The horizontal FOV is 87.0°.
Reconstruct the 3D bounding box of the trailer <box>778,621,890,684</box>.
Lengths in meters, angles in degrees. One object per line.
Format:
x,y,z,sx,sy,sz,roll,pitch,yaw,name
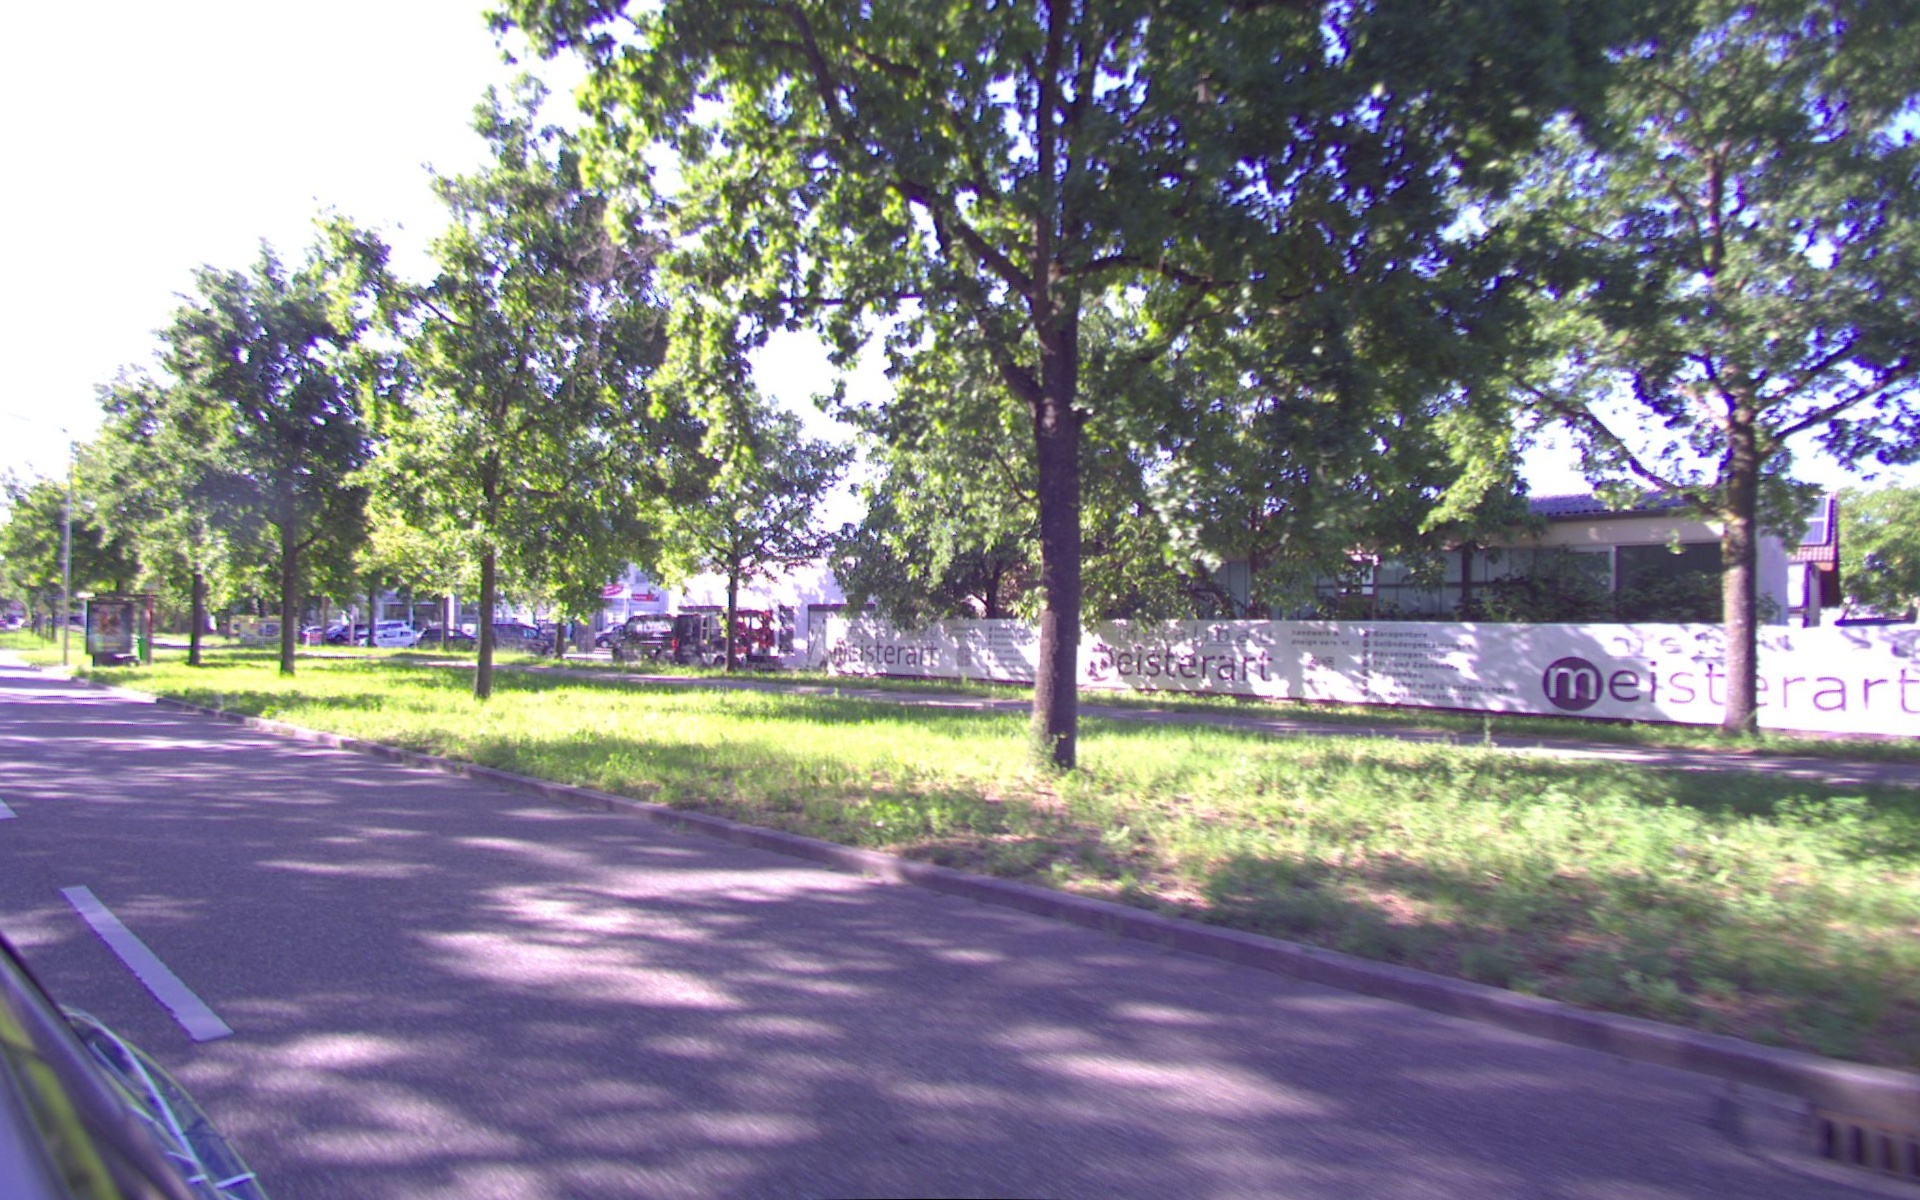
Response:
-4.381,1.771,34.741,3.965,2.029,1.734,-2,-3,44,trailer

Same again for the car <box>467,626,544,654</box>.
-32.324,2.820,72.026,4.963,1.852,2.007,-1,0,-25,car

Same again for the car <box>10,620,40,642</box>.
-88.119,2.908,95.418,1.969,2.029,4.005,1,-2,-42,car

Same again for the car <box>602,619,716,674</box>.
-12.798,1.925,42.778,5.670,2.191,1.972,-2,-2,43,car

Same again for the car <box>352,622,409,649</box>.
-44.558,2.707,77.904,1.973,1.851,3.998,-1,0,2,car

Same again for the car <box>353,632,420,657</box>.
-38.719,3.004,68.398,3.827,1.513,2.006,-1,0,-27,car

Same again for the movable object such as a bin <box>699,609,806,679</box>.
-8.091,1.651,39.226,4.236,2.535,1.972,-1,0,43,movable object such as a bin

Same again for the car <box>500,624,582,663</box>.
-22.659,2.337,54.901,3.931,2.029,2.006,0,-2,-18,car

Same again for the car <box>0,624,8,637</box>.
-145.549,4.625,153.190,1.969,2.029,4.005,1,-2,-42,car
